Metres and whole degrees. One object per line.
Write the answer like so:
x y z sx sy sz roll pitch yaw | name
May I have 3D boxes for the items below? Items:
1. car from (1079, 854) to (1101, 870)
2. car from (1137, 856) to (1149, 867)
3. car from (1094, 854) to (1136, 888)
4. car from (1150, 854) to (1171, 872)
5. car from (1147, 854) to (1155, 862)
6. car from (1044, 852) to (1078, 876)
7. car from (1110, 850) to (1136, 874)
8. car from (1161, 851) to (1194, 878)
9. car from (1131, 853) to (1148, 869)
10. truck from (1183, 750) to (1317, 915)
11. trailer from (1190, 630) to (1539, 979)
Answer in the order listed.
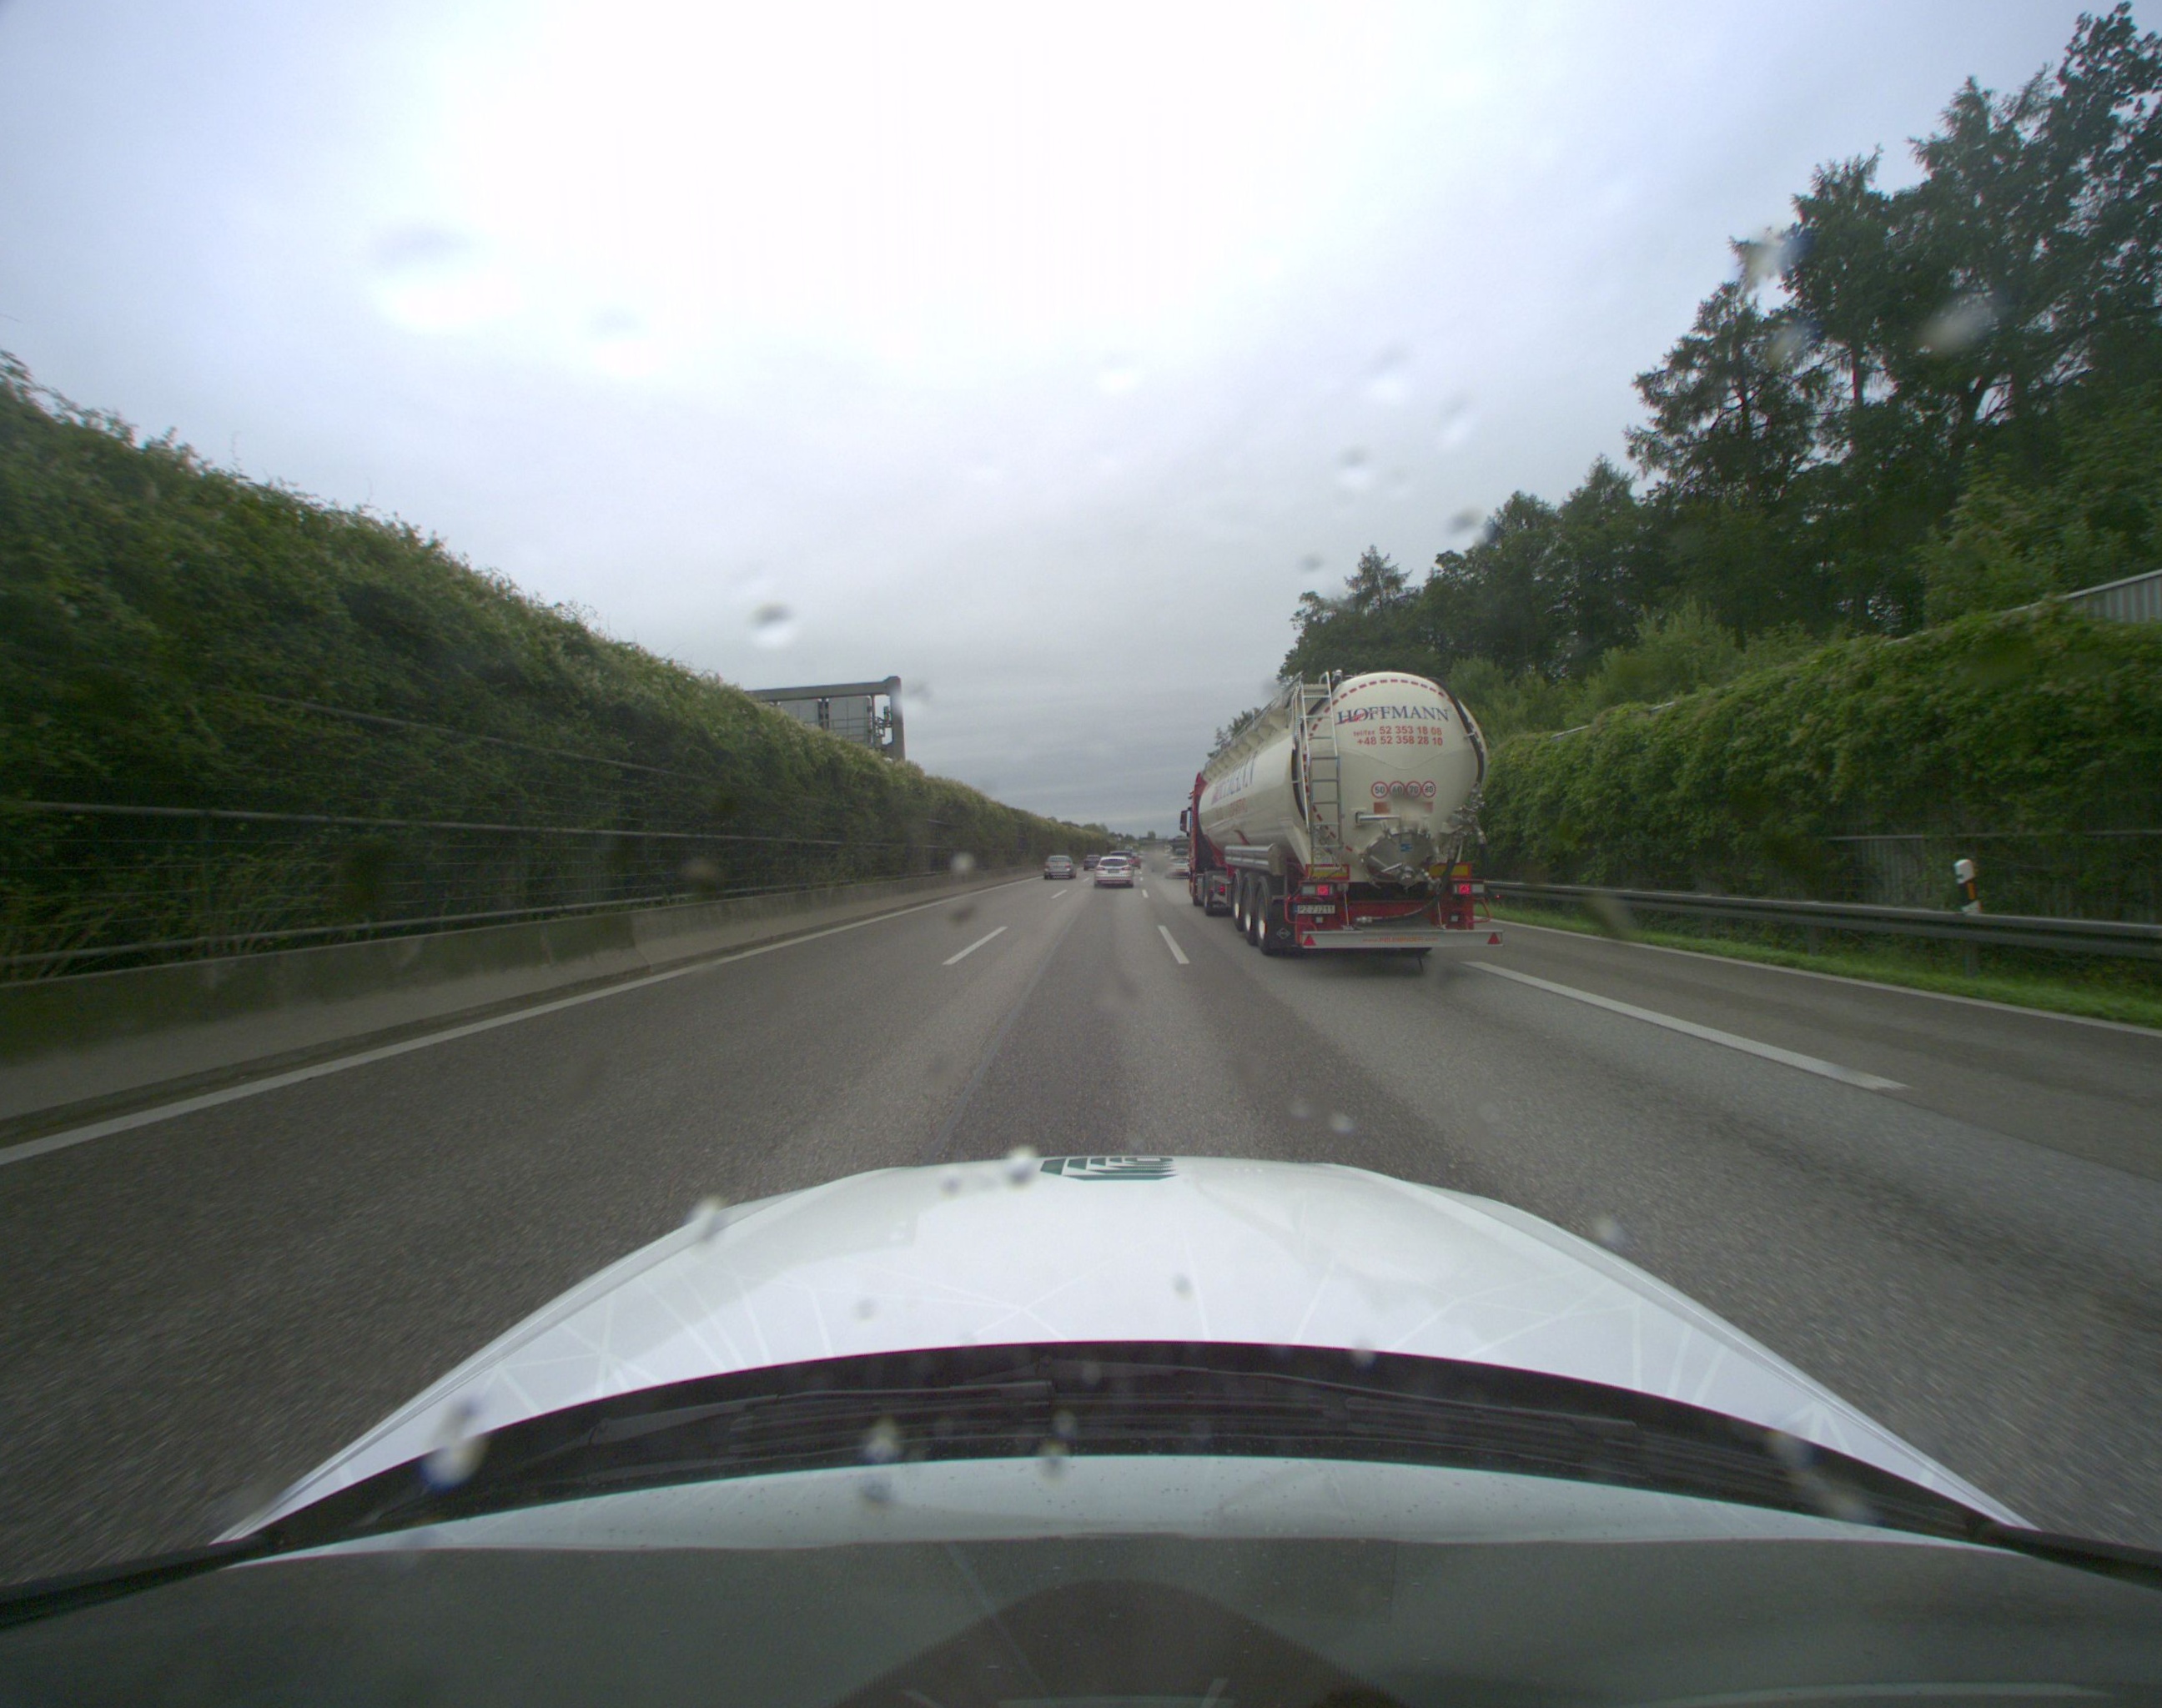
0.899 0.746 78.802 1.712 1.512 5.037 -1 0 5 | car
10.166 1.202 134.315 1.781 1.779 3.878 -2 -1 6 | car
1.686 0.764 39.236 1.883 1.504 5.035 -1 0 4 | car
6.772 0.768 69.581 1.681 1.506 3.877 -1 -1 5 | car
14.080 0.891 163.870 1.681 1.539 3.877 -1 0 5 | car
-1.240 0.677 52.707 1.712 1.469 5.034 -1 -2 4 | car
3.052 0.559 58.960 1.681 1.506 3.876 3 1 4 | car
6.041 0.633 51.444 1.808 1.625 5.035 -1 0 3 | car
6.099 0.715 84.730 1.681 1.506 3.877 -1 0 5 | car
4.467 -0.492 22.870 2.684 3.912 6.561 -1 -1 3 | truck
4.108 -0.507 15.866 2.657 3.939 13.137 -1 -1 2 | trailer
